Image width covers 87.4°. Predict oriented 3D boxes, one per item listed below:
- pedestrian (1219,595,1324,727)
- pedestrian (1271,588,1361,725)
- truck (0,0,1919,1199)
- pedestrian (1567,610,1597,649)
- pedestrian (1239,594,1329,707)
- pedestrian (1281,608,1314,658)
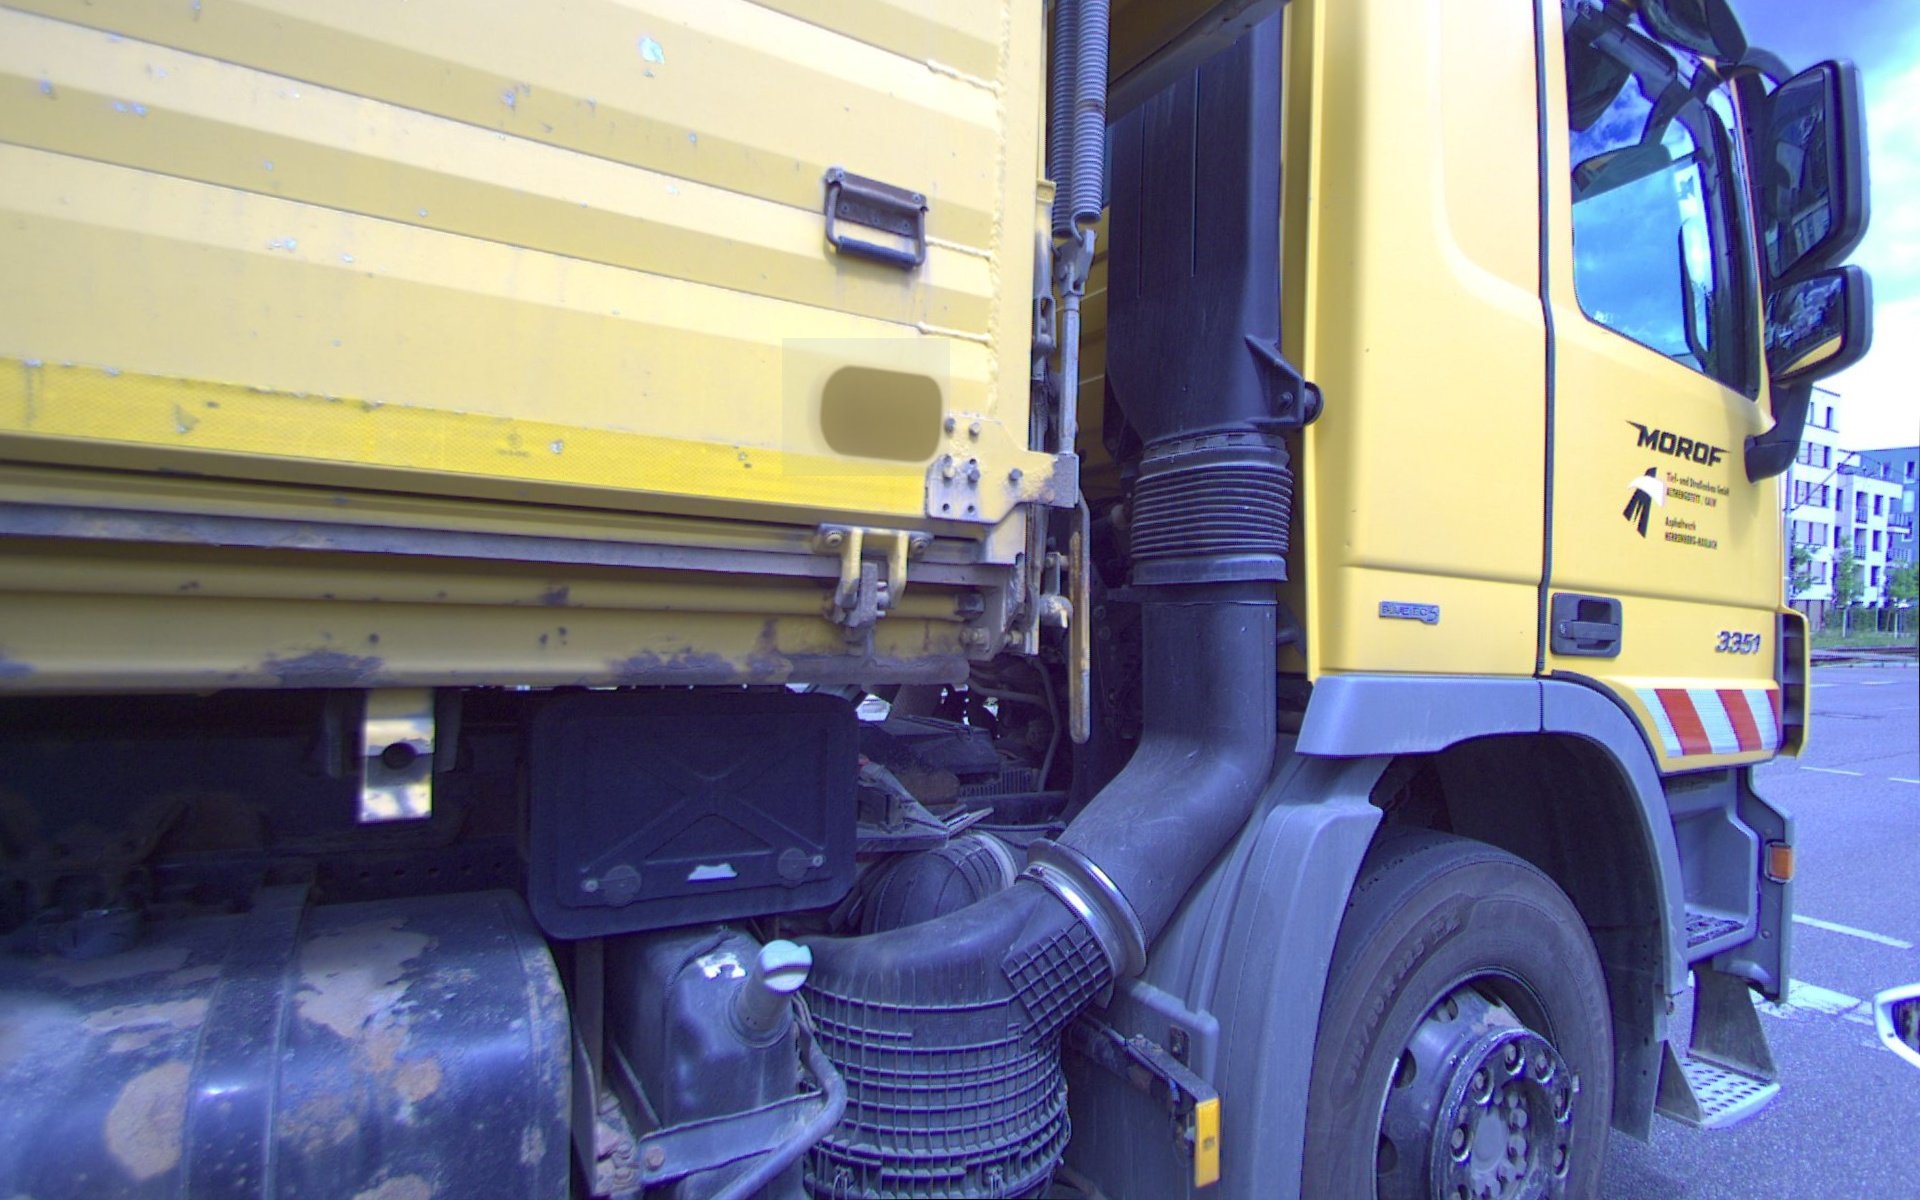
[{"bbox_3d":[4.040,0.757,13.041,0.918,1.628,0.908,1,0,-30],"label":"pedestrian"},{"bbox_3d":[4.784,0.737,13.509,0.818,1.766,0.778,1,0,-30],"label":"pedestrian"},{"bbox_3d":[-1.714,-0.233,1.638,7.916,3.439,3.033,1,0,-32],"label":"truck"},{"bbox_3d":[25.568,1.206,41.291,0.628,1.536,0.827,1,0,-30],"label":"pedestrian"},{"bbox_3d":[4.825,0.732,14.982,0.897,1.618,0.888,1,0,-30],"label":"pedestrian"},{"bbox_3d":[11.576,1.135,34.458,1.048,1.670,0.708,1,0,18],"label":"pedestrian"}]
